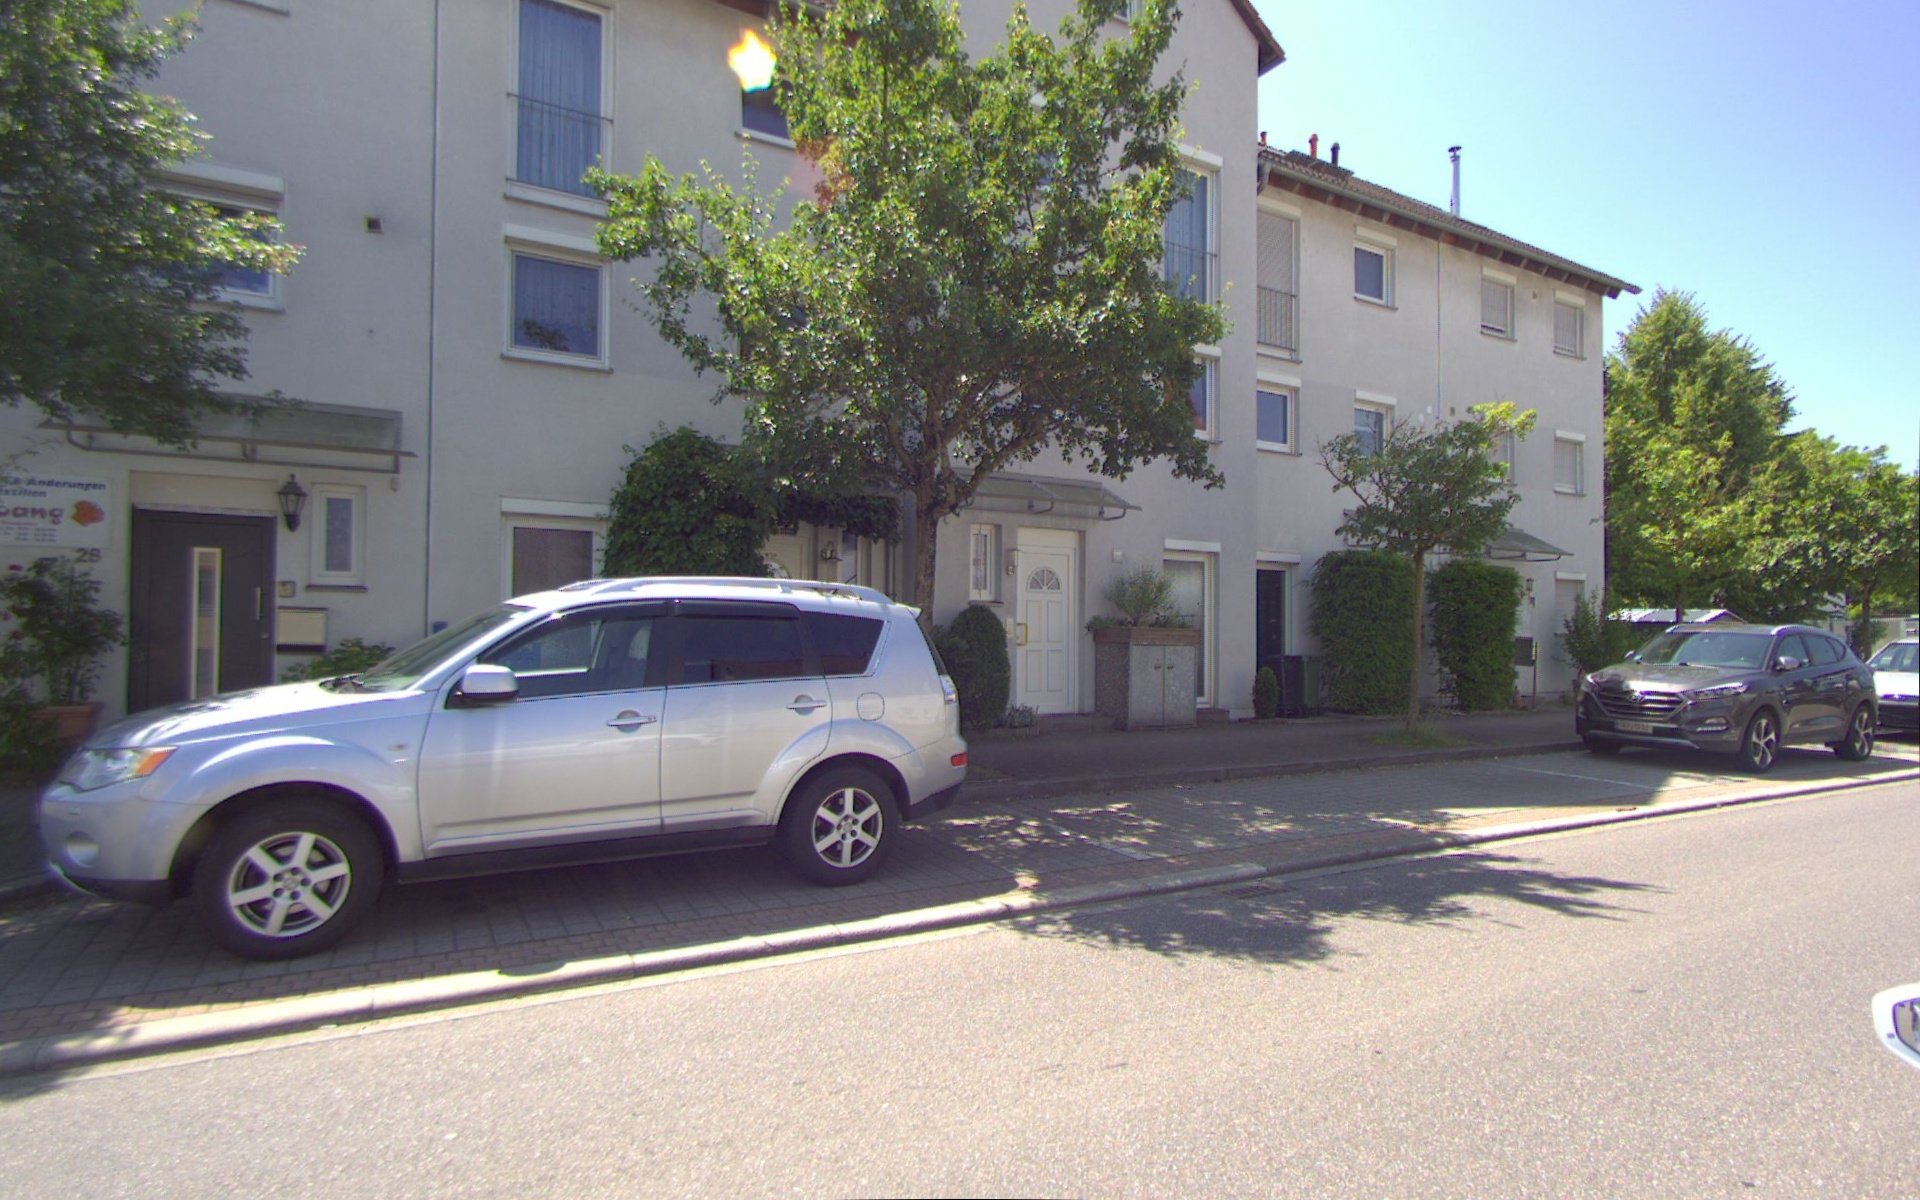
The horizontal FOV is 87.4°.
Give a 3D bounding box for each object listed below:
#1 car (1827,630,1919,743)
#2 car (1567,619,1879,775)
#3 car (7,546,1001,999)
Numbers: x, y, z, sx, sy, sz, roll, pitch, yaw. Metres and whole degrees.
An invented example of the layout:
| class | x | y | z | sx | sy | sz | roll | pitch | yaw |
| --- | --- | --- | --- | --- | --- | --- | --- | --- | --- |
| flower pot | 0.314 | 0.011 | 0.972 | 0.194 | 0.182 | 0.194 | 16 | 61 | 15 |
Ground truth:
| class | x | y | z | sx | sy | sz | roll | pitch | yaw |
| --- | --- | --- | --- | --- | --- | --- | --- | --- | --- |
| car | 15.382 | 1.310 | 15.680 | 3.793 | 1.602 | 1.689 | 2 | -1 | -31 |
| car | 9.516 | 1.105 | 12.467 | 3.950 | 1.641 | 1.684 | 2 | -1 | -30 |
| car | -2.100 | 0.707 | 5.696 | 4.474 | 1.709 | 1.697 | 2 | -1 | -31 |
